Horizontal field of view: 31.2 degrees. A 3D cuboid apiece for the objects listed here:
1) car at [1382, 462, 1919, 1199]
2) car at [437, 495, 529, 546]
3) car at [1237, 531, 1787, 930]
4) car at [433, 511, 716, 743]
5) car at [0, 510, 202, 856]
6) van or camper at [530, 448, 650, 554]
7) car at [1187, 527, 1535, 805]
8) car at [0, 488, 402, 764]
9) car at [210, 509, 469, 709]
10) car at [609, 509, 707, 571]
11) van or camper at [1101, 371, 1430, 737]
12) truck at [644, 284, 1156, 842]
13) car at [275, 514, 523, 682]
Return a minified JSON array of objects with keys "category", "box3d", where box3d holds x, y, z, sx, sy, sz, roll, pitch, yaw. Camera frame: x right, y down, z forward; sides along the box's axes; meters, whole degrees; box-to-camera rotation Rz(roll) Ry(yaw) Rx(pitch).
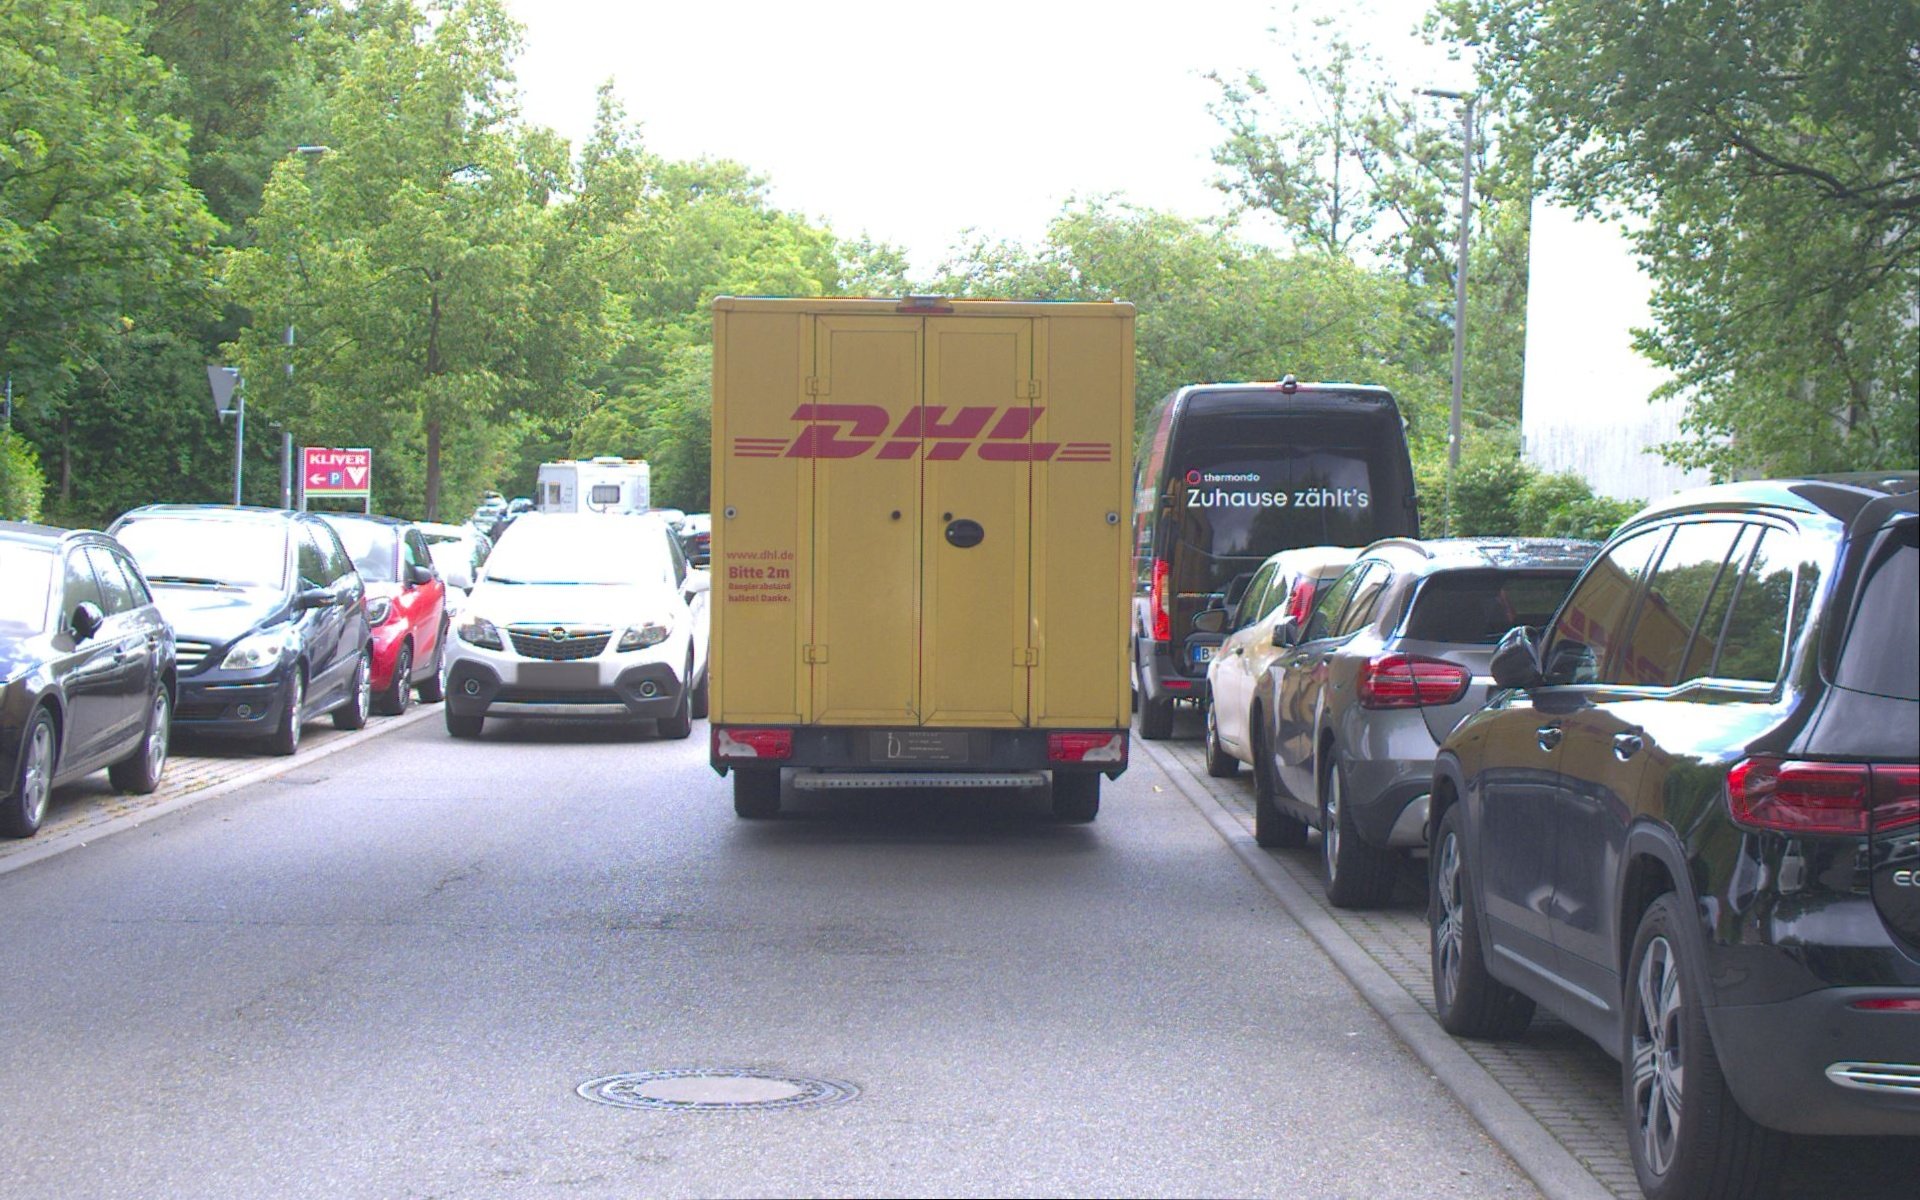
[{"category":"car","box3d":[2.330,0.503,8.800,1.813,1.672,4.371,0,2,-2]},{"category":"car","box3d":[-15.908,-2.657,114.456,1.843,1.524,4.001,1,3,-26]},{"category":"car","box3d":[2.276,0.459,15.203,1.699,1.491,4.119,1,1,-1]},{"category":"car","box3d":[-2.868,0.136,26.304,1.747,1.605,4.052,1,2,-1]},{"category":"car","box3d":[-5.205,0.303,17.615,1.884,1.504,4.453,2,1,-4]},{"category":"van or camper","box3d":[-11.040,-2.981,102.228,2.323,2.861,5.263,-2,5,-20]},{"category":"car","box3d":[2.312,0.331,20.541,1.562,1.491,3.331,0,2,-2]},{"category":"car","box3d":[-5.135,0.118,23.714,1.884,1.553,3.838,6,1,-1]},{"category":"car","box3d":[-5.024,0.037,28.108,1.529,1.501,2.713,2,1,1]},{"category":"car","box3d":[-8.430,-1.682,95.649,1.843,1.524,4.002,1,3,-17]},{"category":"van or camper","box3d":[2.231,-0.363,26.548,1.993,2.514,5.471,-1,1,0]},{"category":"truck","box3d":[-0.375,-0.266,20.023,2.466,2.693,6.825,0,2,-1]},{"category":"car","box3d":[-5.269,-0.064,32.703,1.674,1.431,3.970,2,1,0]}]
